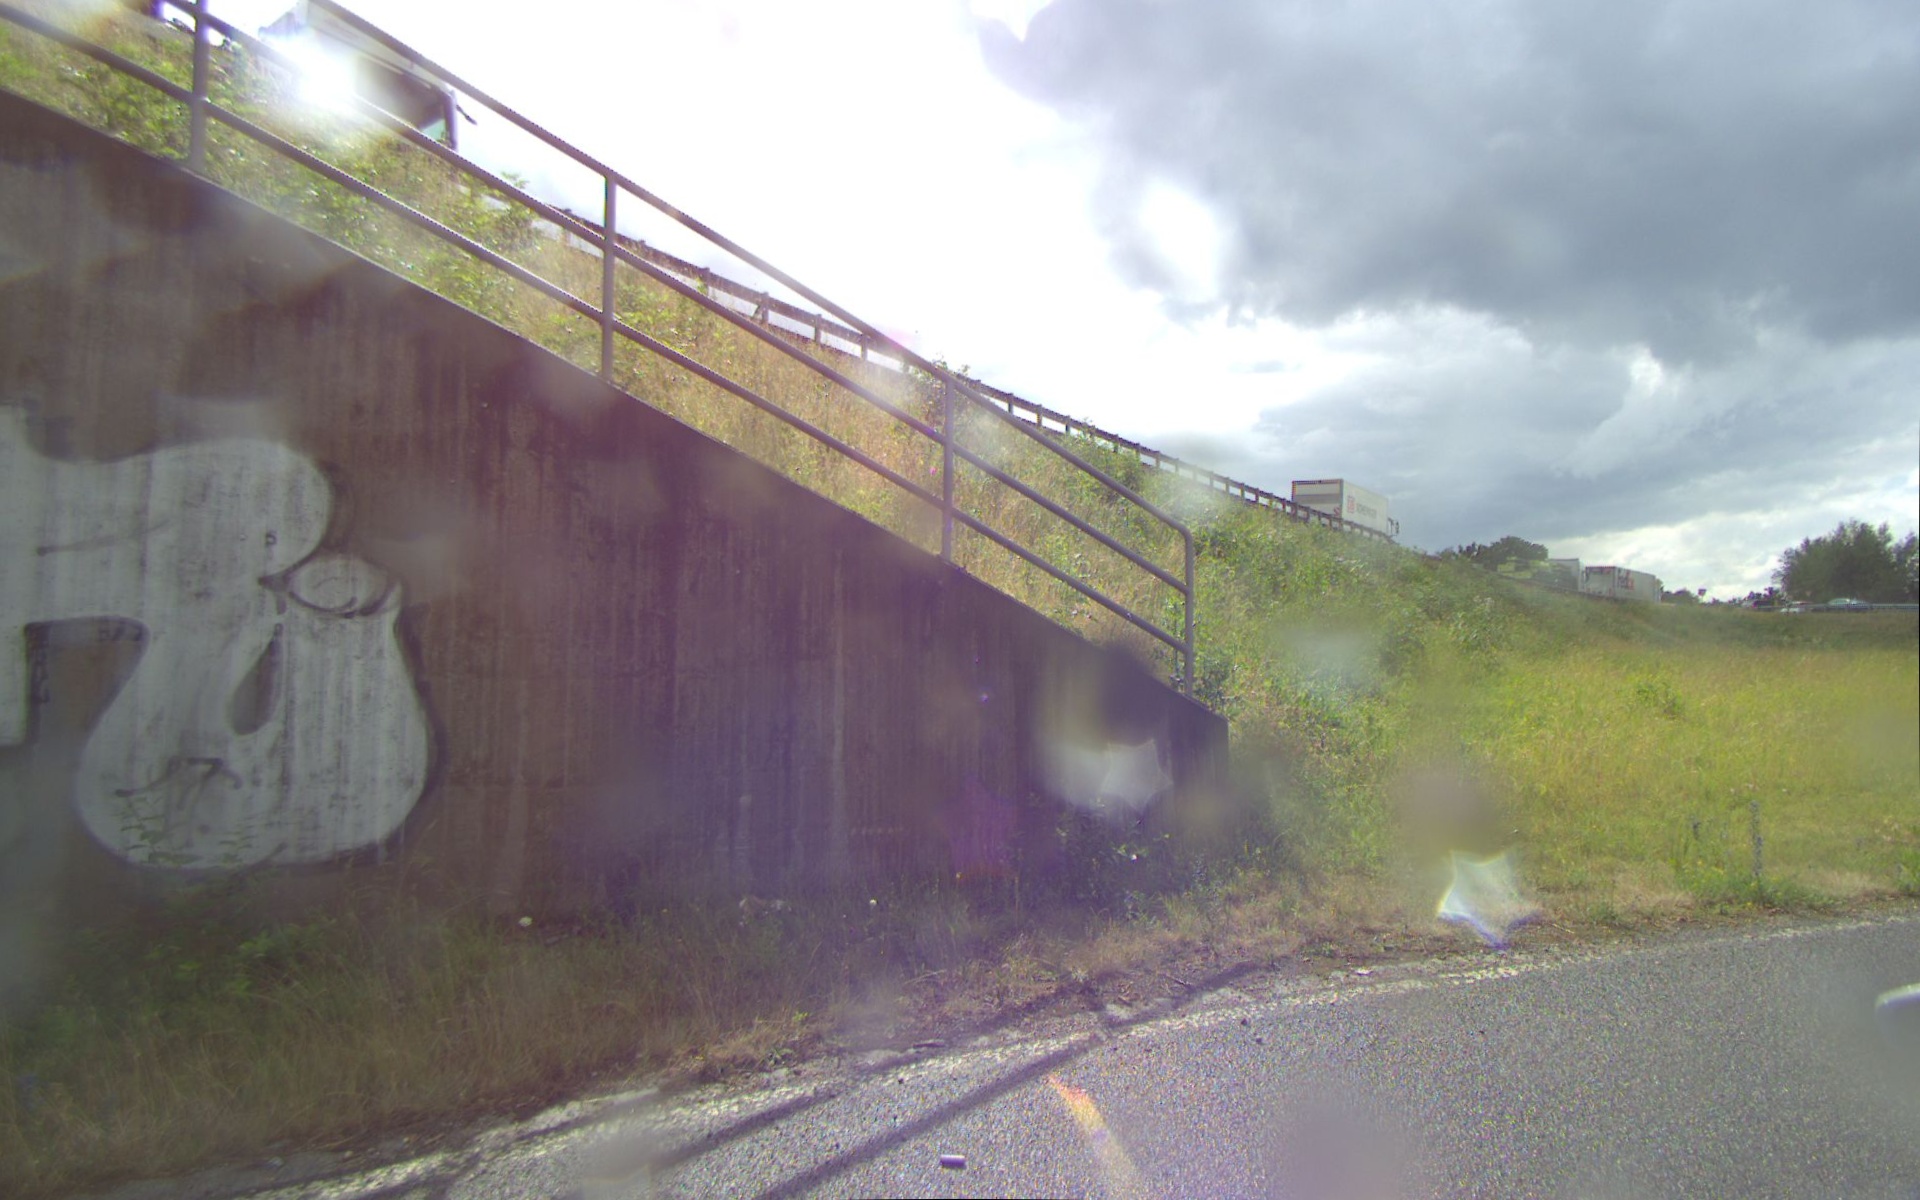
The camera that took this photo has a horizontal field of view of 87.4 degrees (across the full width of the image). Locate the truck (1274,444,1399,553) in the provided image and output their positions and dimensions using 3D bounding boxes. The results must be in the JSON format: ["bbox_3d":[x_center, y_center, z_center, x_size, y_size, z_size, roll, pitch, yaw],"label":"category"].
[{"bbox_3d":[19.396,-4.952,51.308,3.142,4.017,9.198,0,-4,39],"label":"truck"}]

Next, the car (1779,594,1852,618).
[{"bbox_3d":[75.172,0.595,88.351,1.961,1.885,5.056,1,-3,-3],"label":"car"}]

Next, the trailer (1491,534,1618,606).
[{"bbox_3d":[49.092,-2.119,82.338,4.368,4.007,20.100,0,-4,44],"label":"trailer"}]

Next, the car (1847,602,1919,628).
[{"bbox_3d":[73.466,1.208,79.477,1.969,1.885,4.493,1,-3,-19],"label":"car"}]

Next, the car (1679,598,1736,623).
[{"bbox_3d":[65.253,0.946,87.728,3.939,2.040,1.819,0,-3,40],"label":"car"}]

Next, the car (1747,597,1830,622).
[{"bbox_3d":[69.379,0.794,84.177,1.972,1.885,5.029,2,-3,-23],"label":"car"}]

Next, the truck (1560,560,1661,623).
[{"bbox_3d":[62.594,-0.578,96.218,4.414,4.561,19.263,0,-4,44],"label":"truck"}]
